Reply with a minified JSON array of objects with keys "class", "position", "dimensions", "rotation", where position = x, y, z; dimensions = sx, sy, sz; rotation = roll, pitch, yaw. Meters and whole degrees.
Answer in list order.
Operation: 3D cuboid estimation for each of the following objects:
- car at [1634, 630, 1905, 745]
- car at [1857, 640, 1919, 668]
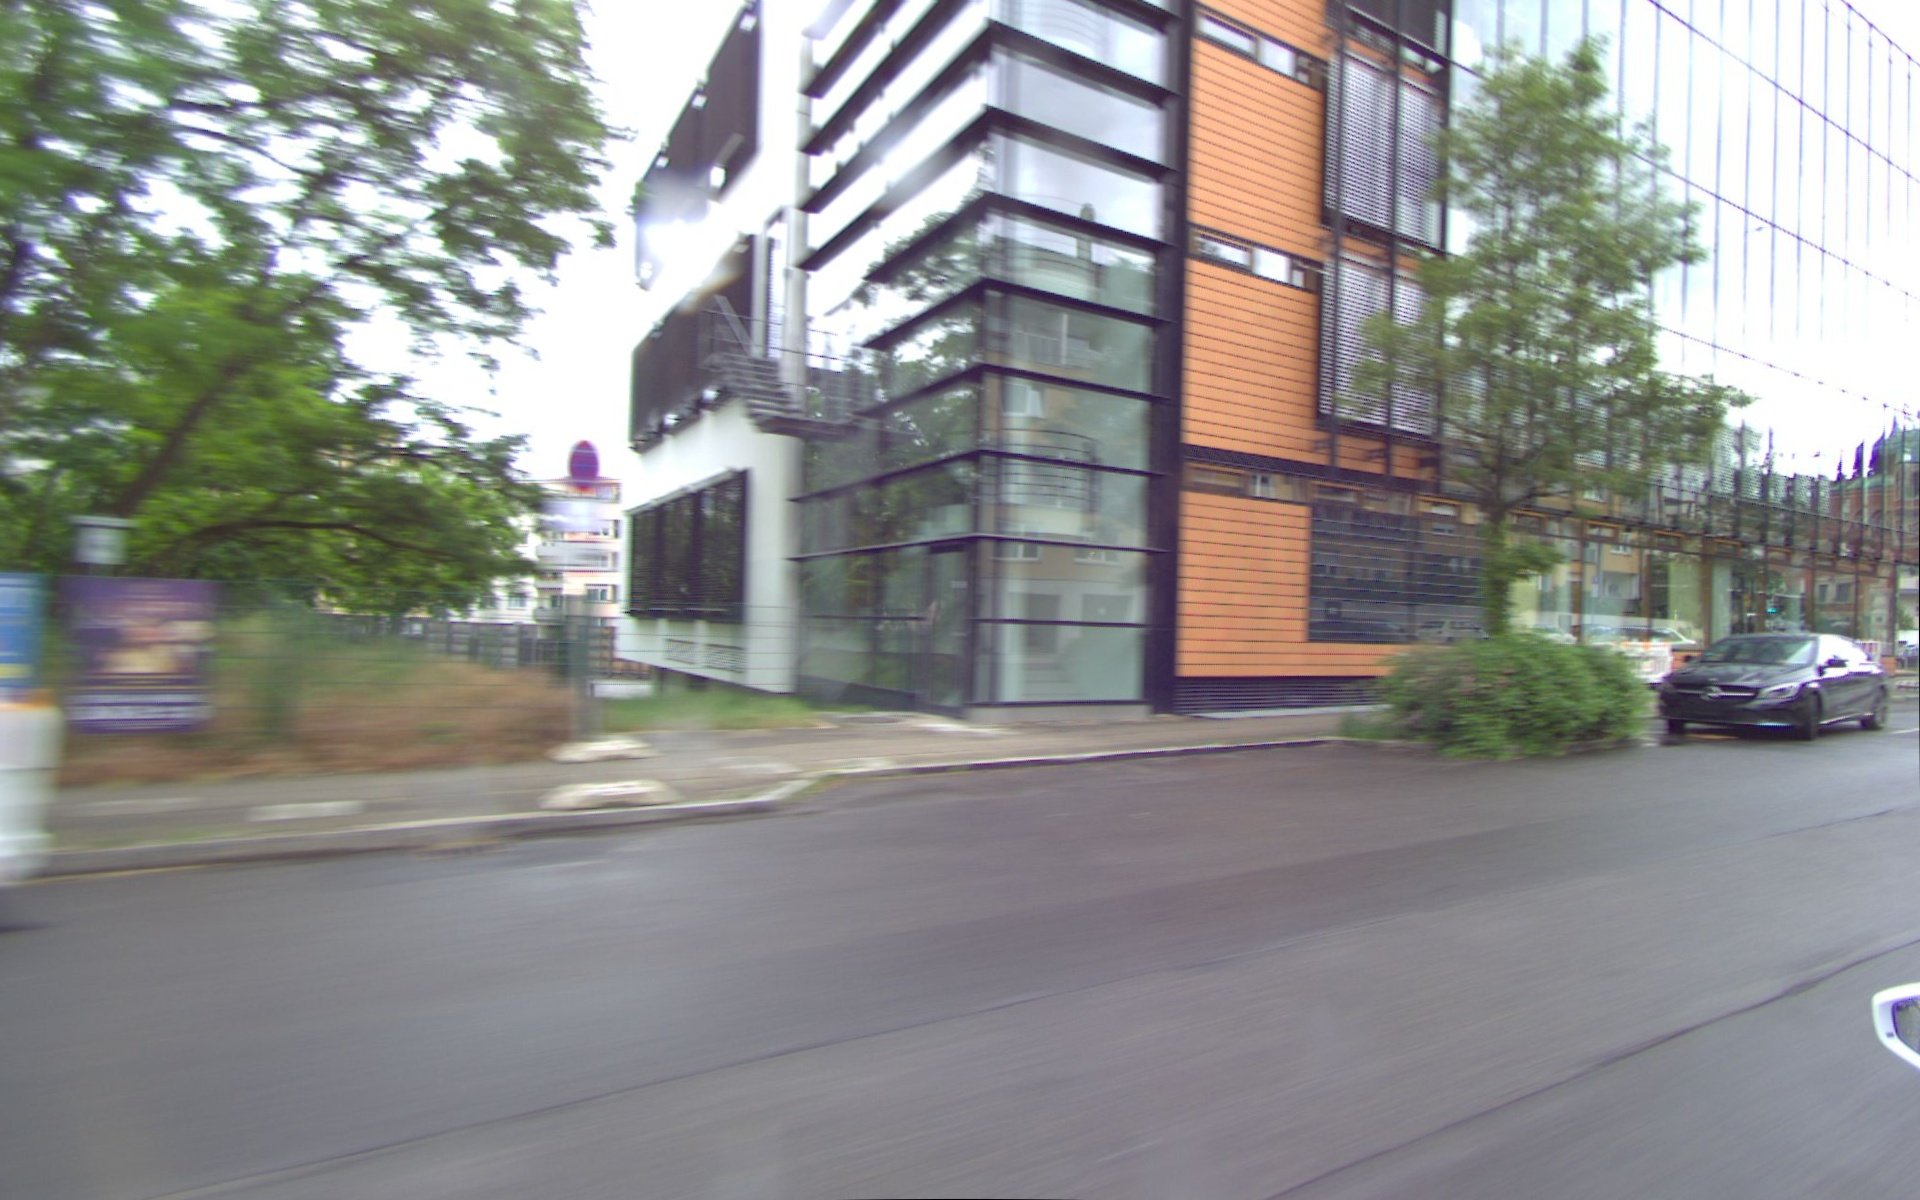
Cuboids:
[{"class":"car","position":[12.099,1.216,14.930],"dimensions":[4.607,1.469,1.793],"rotation":[2,-2,-33]},{"class":"car","position":[54.498,3.110,57.755],"dimensions":[3.922,1.530,1.799],"rotation":[0,0,22]}]
